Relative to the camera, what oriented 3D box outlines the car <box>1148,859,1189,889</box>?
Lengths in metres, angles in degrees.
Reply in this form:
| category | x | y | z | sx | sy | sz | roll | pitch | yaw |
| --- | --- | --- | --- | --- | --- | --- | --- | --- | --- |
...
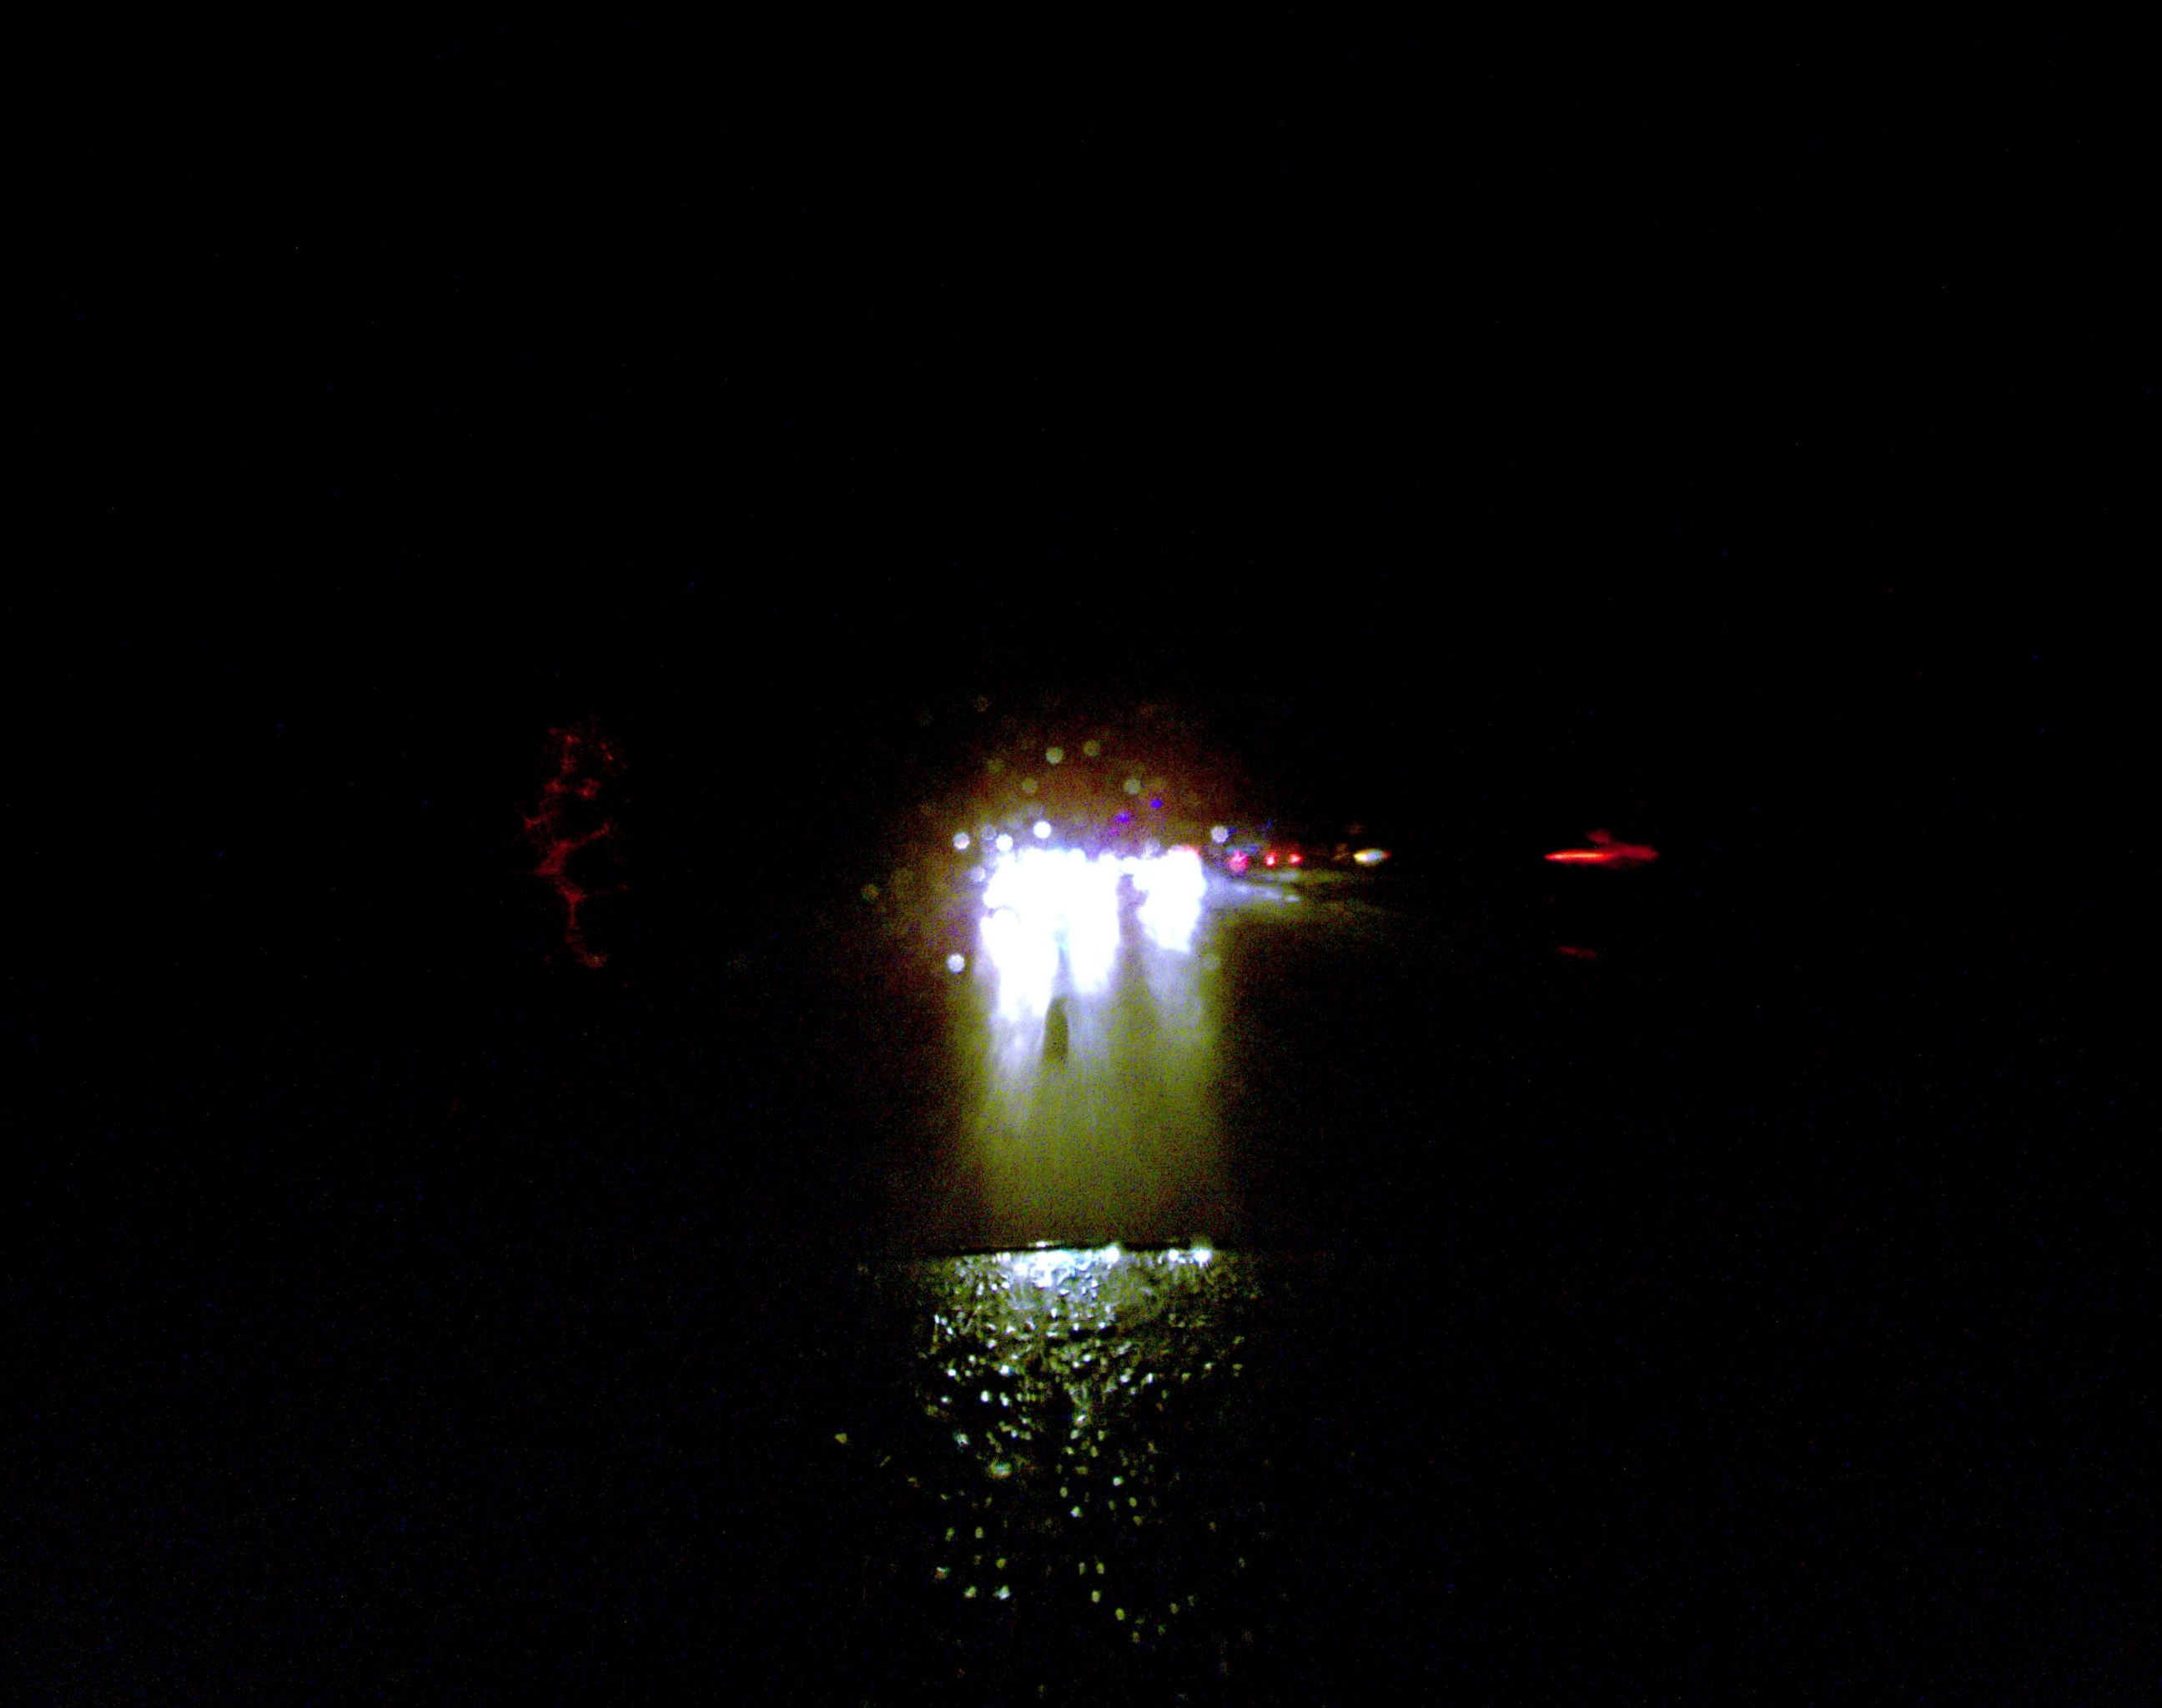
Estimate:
| category | x | y | z | sx | sy | sz | roll | pitch | yaw |
| --- | --- | --- | --- | --- | --- | --- | --- | --- | --- |
| car | 4.740 | 1.070 | 41.656 | 1.654 | 1.566 | 3.849 | -1 | -1 | -2 |

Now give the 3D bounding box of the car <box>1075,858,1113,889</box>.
| category | x | y | z | sx | sy | sz | roll | pitch | yaw |
| --- | --- | --- | --- | --- | --- | --- | --- | --- | --- |
| car | 0.678 | 1.023 | 41.784 | 1.848 | 1.532 | 3.999 | -2 | 0 | -2 |

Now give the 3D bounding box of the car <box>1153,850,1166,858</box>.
| category | x | y | z | sx | sy | sz | roll | pitch | yaw |
| --- | --- | --- | --- | --- | --- | --- | --- | --- | --- |
| car | 15.635 | -0.018 | 151.527 | 1.999 | 1.487 | 3.999 | -2 | 0 | -2 |

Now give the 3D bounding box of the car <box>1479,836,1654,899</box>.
| category | x | y | z | sx | sy | sz | roll | pitch | yaw |
| --- | --- | --- | --- | --- | --- | --- | --- | --- | --- |
| car | 13.104 | 0.328 | 20.891 | 1.887 | 1.500 | 4.305 | -2 | 0 | -2 |

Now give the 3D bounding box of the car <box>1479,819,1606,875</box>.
| category | x | y | z | sx | sy | sz | roll | pitch | yaw |
| --- | --- | --- | --- | --- | --- | --- | --- | --- | --- |
| car | 17.704 | -0.259 | 29.492 | 1.896 | 1.899 | 4.843 | -2 | 0 | -1 |

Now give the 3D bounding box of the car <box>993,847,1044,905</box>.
| category | x | y | z | sx | sy | sz | roll | pitch | yaw |
| --- | --- | --- | --- | --- | --- | --- | --- | --- | --- |
| car | -2.400 | 0.830 | 30.084 | 1.754 | 2.092 | 4.463 | -1 | -1 | -2 |

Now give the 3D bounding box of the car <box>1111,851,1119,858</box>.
| category | x | y | z | sx | sy | sz | roll | pitch | yaw |
| --- | --- | --- | --- | --- | --- | --- | --- | --- | --- |
| car | 8.435 | 0.113 | 188.612 | 1.681 | 1.487 | 3.751 | -2 | 0 | -3 |

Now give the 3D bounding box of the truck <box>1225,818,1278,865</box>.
| category | x | y | z | sx | sy | sz | roll | pitch | yaw |
| --- | --- | --- | --- | --- | --- | --- | --- | --- | --- |
| truck | 16.170 | -1.088 | 72.667 | 3.373 | 4.149 | 6.463 | -3 | 0 | -1 |

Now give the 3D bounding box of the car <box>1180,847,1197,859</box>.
| category | x | y | z | sx | sy | sz | roll | pitch | yaw |
| --- | --- | --- | --- | --- | --- | --- | --- | --- | --- |
| car | 15.007 | -0.140 | 106.229 | 1.710 | 1.487 | 3.718 | -2 | 0 | -2 |

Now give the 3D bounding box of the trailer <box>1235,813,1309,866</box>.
| category | x | y | z | sx | sy | sz | roll | pitch | yaw |
| --- | --- | --- | --- | --- | --- | --- | --- | --- | --- |
| trailer | 16.224 | -1.112 | 65.725 | 3.363 | 4.149 | 11.719 | -1 | 0 | 0 |

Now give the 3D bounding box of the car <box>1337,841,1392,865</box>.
| category | x | y | z | sx | sy | sz | roll | pitch | yaw |
| --- | --- | --- | --- | --- | --- | --- | --- | --- | --- |
| car | 18.486 | -0.052 | 49.783 | 1.844 | 1.386 | 4.167 | -3 | 0 | -3 |
